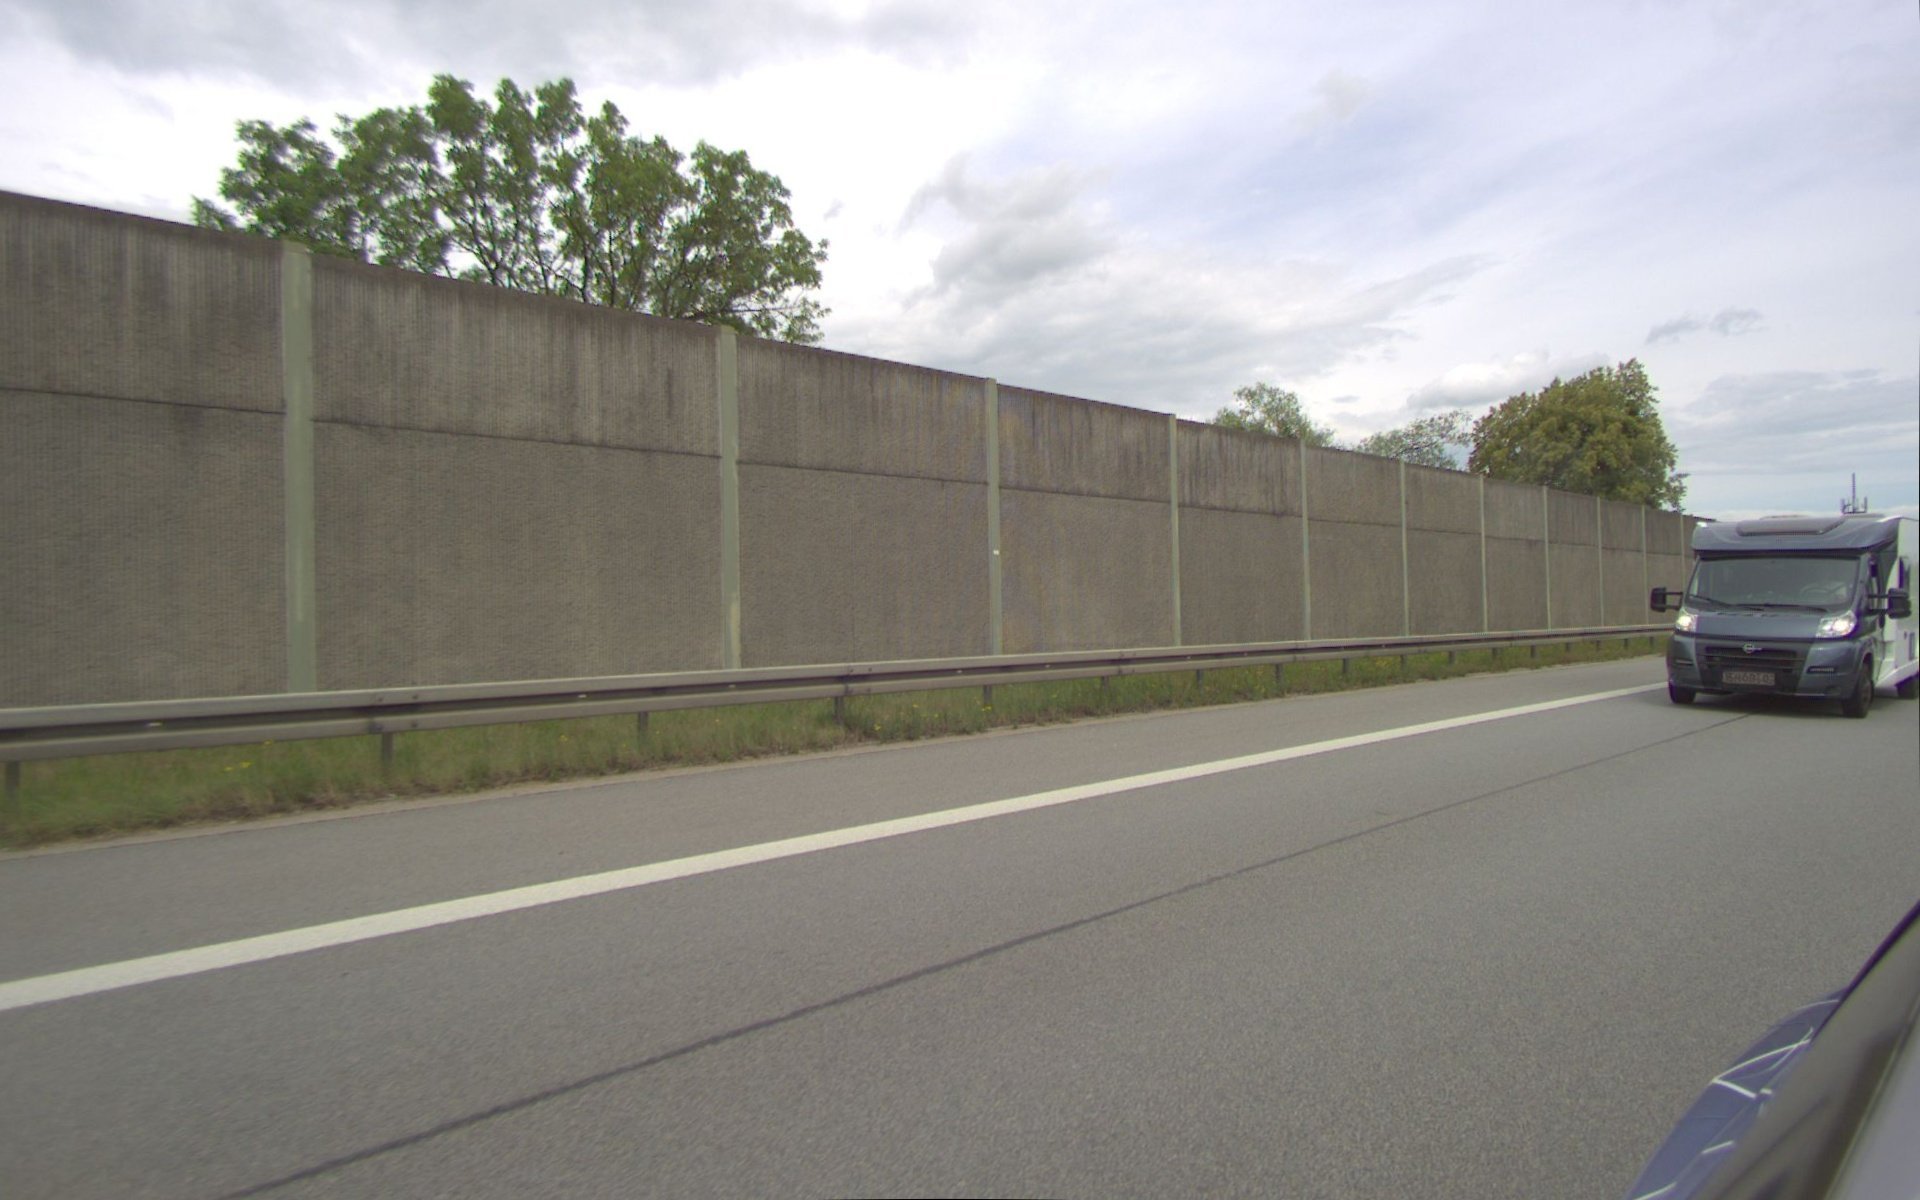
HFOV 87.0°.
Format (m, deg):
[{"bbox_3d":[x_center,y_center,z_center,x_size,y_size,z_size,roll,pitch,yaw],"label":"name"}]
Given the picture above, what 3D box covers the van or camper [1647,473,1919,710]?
[{"bbox_3d":[12.668,-0.102,14.890,7.097,2.731,2.434,0,0,-40],"label":"van or camper"}]
